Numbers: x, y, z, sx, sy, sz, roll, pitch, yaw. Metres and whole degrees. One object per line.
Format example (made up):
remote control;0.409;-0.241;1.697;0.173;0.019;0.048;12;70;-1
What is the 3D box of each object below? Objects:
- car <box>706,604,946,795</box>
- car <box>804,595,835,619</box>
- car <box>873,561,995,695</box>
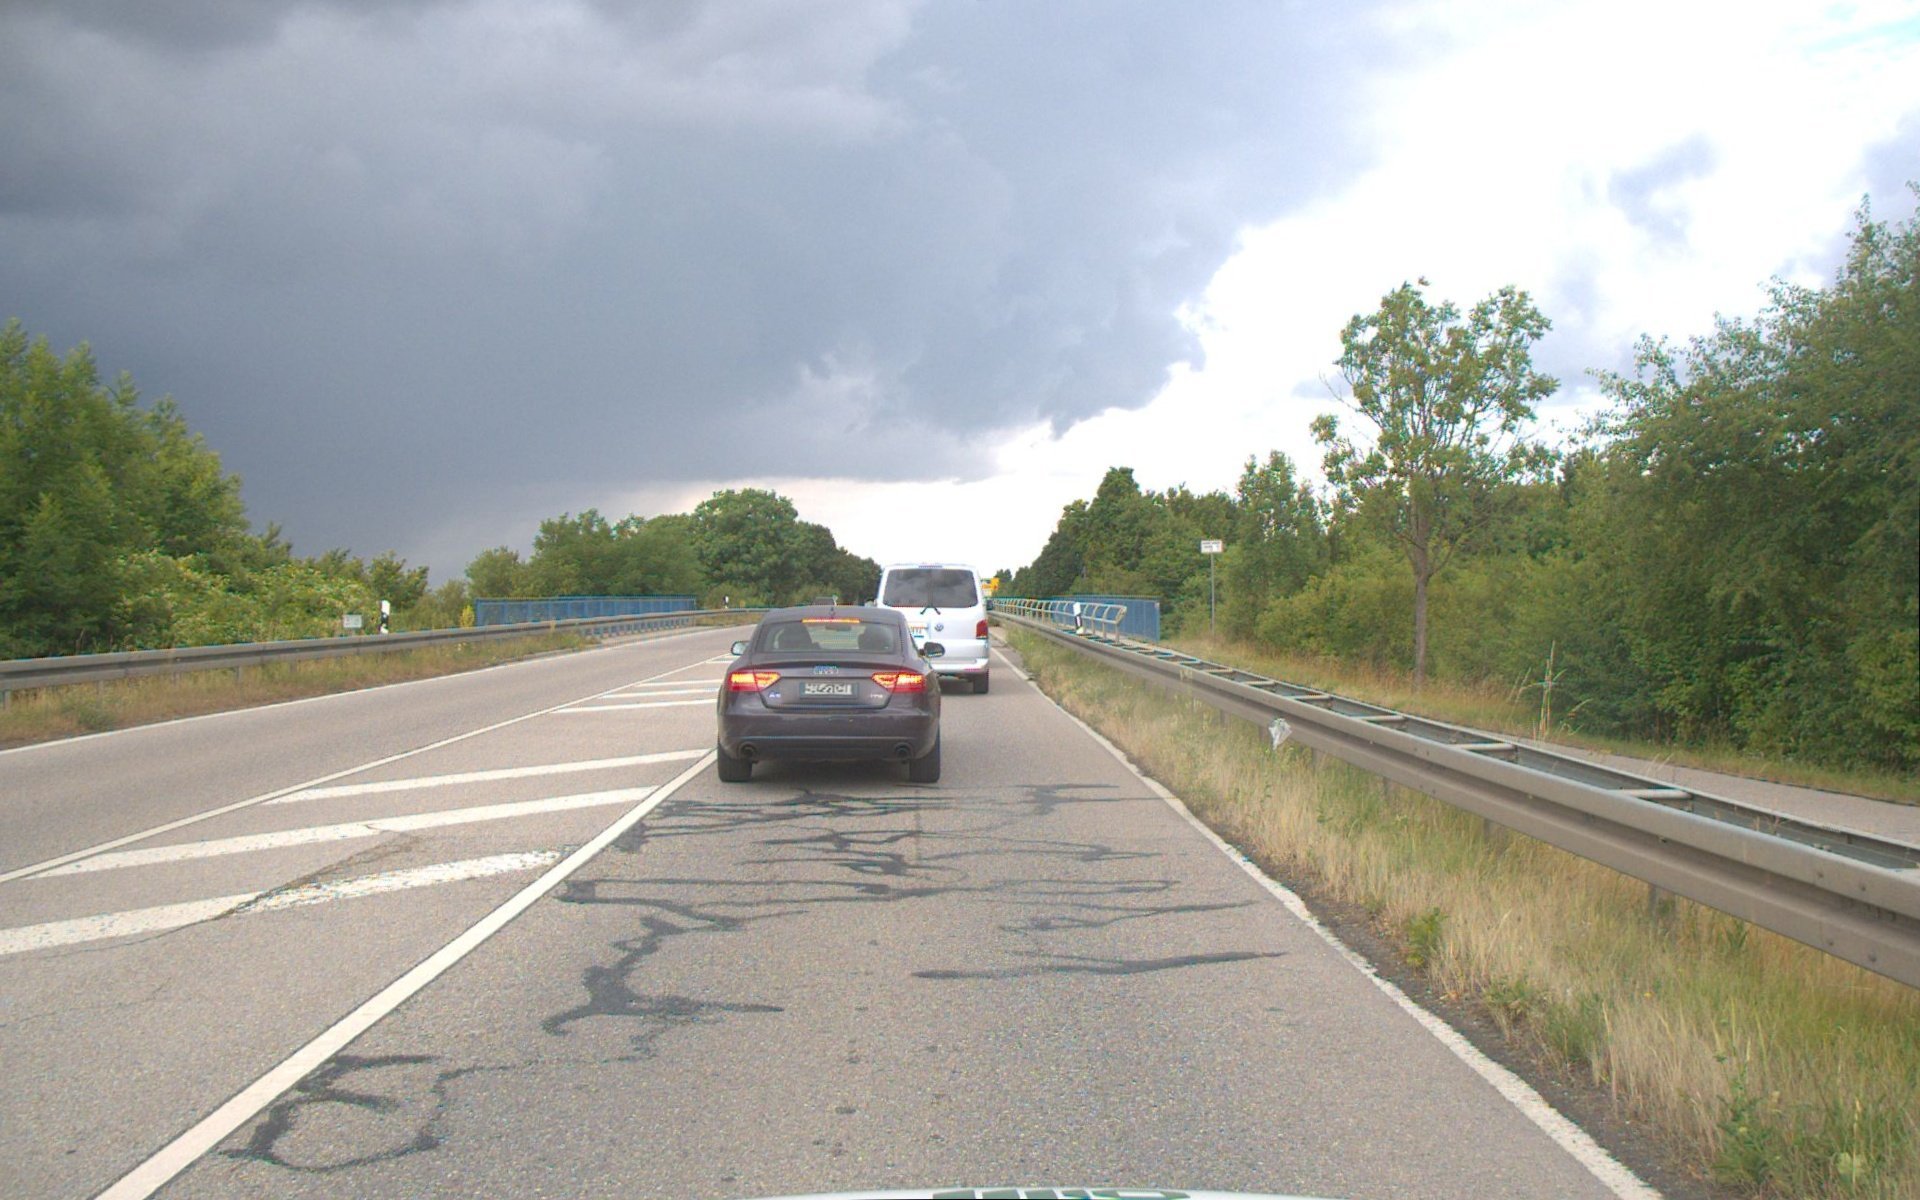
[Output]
car;-1.034;0.746;14.411;1.784;1.405;4.071;0;0;-1
car;-8.879;0.458;104.707;1.763;1.475;4.444;0;0;-2
car;-0.422;0.412;26.497;1.791;1.969;3.999;0;0;-1
